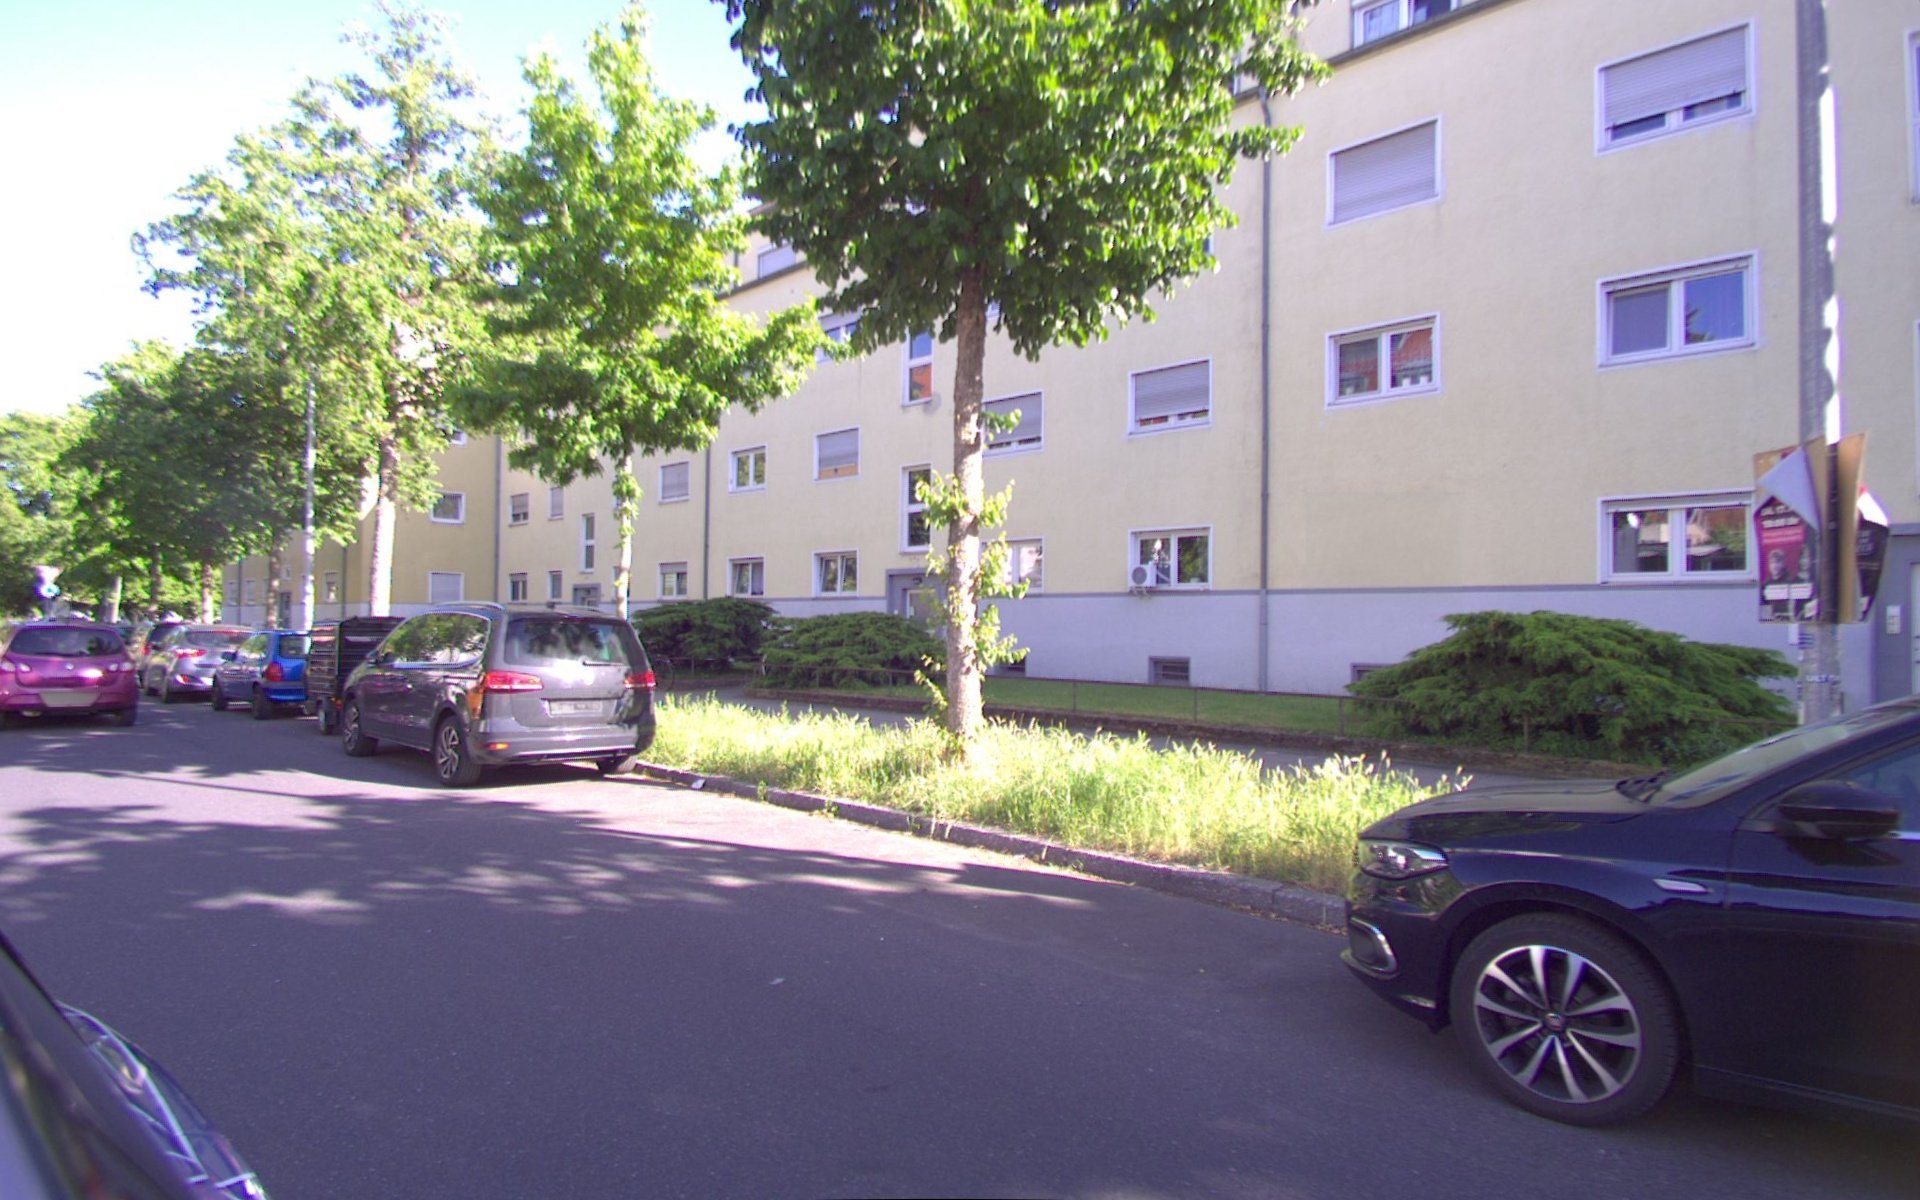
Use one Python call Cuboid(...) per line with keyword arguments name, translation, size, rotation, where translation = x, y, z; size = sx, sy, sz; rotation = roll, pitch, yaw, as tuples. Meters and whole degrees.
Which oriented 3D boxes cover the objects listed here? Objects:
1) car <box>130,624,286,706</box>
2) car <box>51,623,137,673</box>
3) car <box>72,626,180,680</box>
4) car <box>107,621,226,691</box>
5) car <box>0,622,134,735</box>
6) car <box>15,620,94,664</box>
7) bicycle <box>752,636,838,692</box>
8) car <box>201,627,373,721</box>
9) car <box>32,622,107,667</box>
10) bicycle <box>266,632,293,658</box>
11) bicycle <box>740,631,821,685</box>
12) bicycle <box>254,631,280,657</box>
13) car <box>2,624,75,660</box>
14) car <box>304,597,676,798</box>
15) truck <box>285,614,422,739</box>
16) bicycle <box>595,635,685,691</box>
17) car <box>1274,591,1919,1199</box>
Cuboid(name="car", translation=(-15.076, 1.245, 20.194), size=(4.690, 1.455, 1.771), rotation=(-1, -4, 45))
Cuboid(name="car", translation=(-27.384, 1.488, 31.967), size=(3.933, 1.470, 1.646), rotation=(-2, -3, 44))
Cuboid(name="car", translation=(-23.340, 1.443, 28.272), size=(4.674, 1.379, 1.726), rotation=(-1, -3, 43))
Cuboid(name="car", translation=(-19.025, 1.302, 24.194), size=(4.270, 1.527, 1.602), rotation=(-1, -5, 44))
Cuboid(name="car", translation=(-13.020, 1.053, 14.397), size=(3.177, 1.437, 1.489), rotation=(-1, -3, 43))
Cuboid(name="car", translation=(-34.373, 1.564, 38.377), size=(4.734, 1.577, 1.673), rotation=(-1, -3, 42))
Cuboid(name="bicycle", translation=(-3.310, 1.275, 20.443), size=(0.486, 1.089, 1.820), rotation=(-1, -3, 40))
Cuboid(name="car", translation=(-11.394, 1.169, 17.041), size=(3.726, 1.406, 1.504), rotation=(-1, -3, 42))
Cuboid(name="car", translation=(-31.030, 1.533, 35.240), size=(3.256, 1.497, 1.646), rotation=(-2, -3, 43))
Cuboid(name="bicycle", translation=(-27.556, 1.799, 40.971), size=(1.749, 1.034, 0.529), rotation=(-1, -3, 45))
Cuboid(name="bicycle", translation=(-3.979, 1.262, 22.509), size=(1.818, 1.089, 0.487), rotation=(-1, 1, -44))
Cuboid(name="bicycle", translation=(-28.966, 1.838, 42.293), size=(1.749, 1.034, 0.534), rotation=(-1, -3, 45))
Cuboid(name="car", translation=(-39.016, 1.751, 42.810), size=(3.991, 1.453, 1.742), rotation=(-1, -3, 40))
Cuboid(name="car", translation=(-5.258, 0.928, 10.931), size=(4.976, 1.693, 1.829), rotation=(-1, -5, 43))
Cuboid(name="truck", translation=(-8.543, 1.017, 14.198), size=(1.071, 1.589, 2.433), rotation=(3, -3, -44))
Cuboid(name="bicycle", translation=(-6.593, 1.287, 20.839), size=(1.831, 1.089, 0.483), rotation=(0, 0, 20))
Cuboid(name="car", translation=(3.438, 0.798, 2.723), size=(4.778, 1.560, 1.491), rotation=(-1, -5, 43))
